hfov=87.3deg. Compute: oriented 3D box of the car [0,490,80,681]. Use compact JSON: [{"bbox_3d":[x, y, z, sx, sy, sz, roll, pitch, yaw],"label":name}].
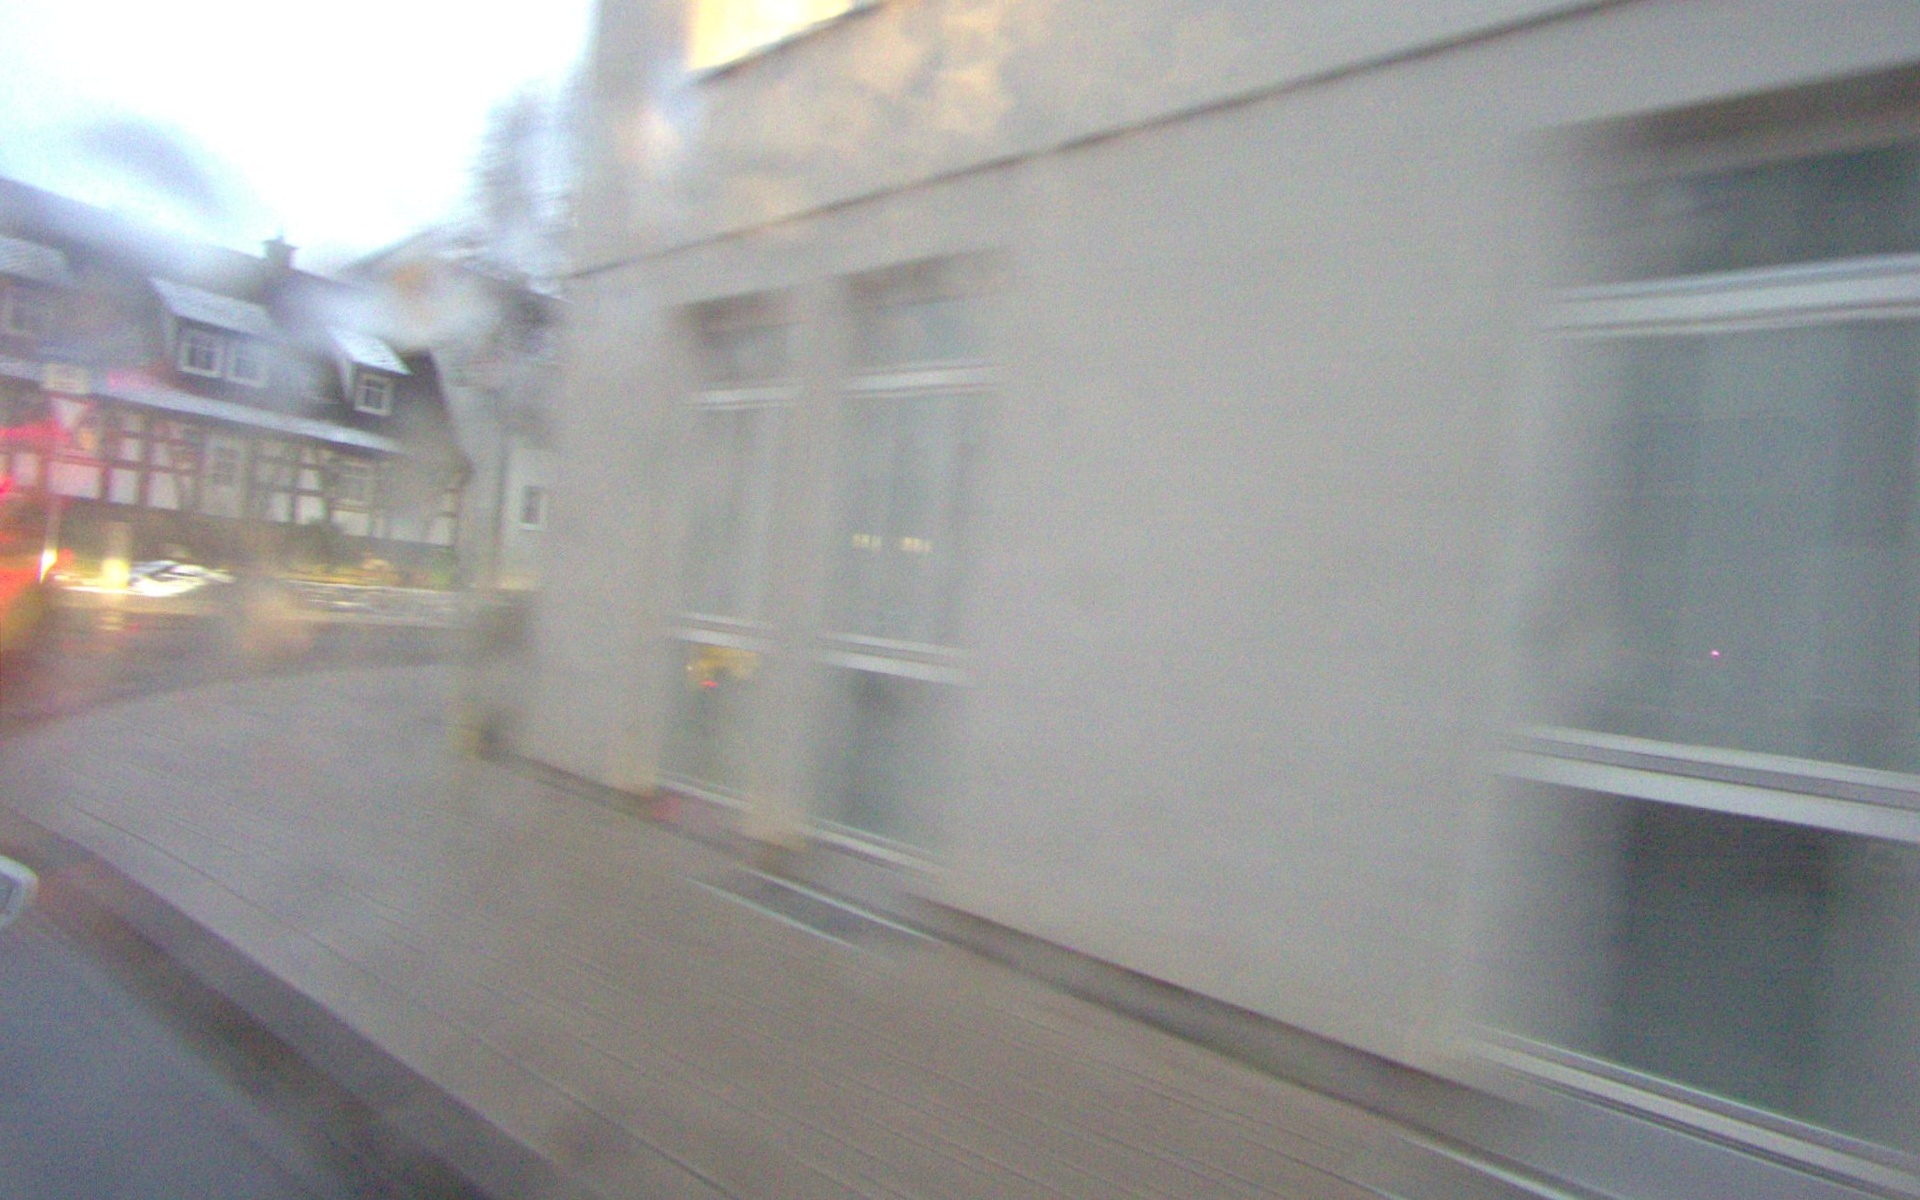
[{"bbox_3d":[-7.880,-0.180,6.857,1.754,1.465,3.704,7,0,-25],"label":"car"}]
